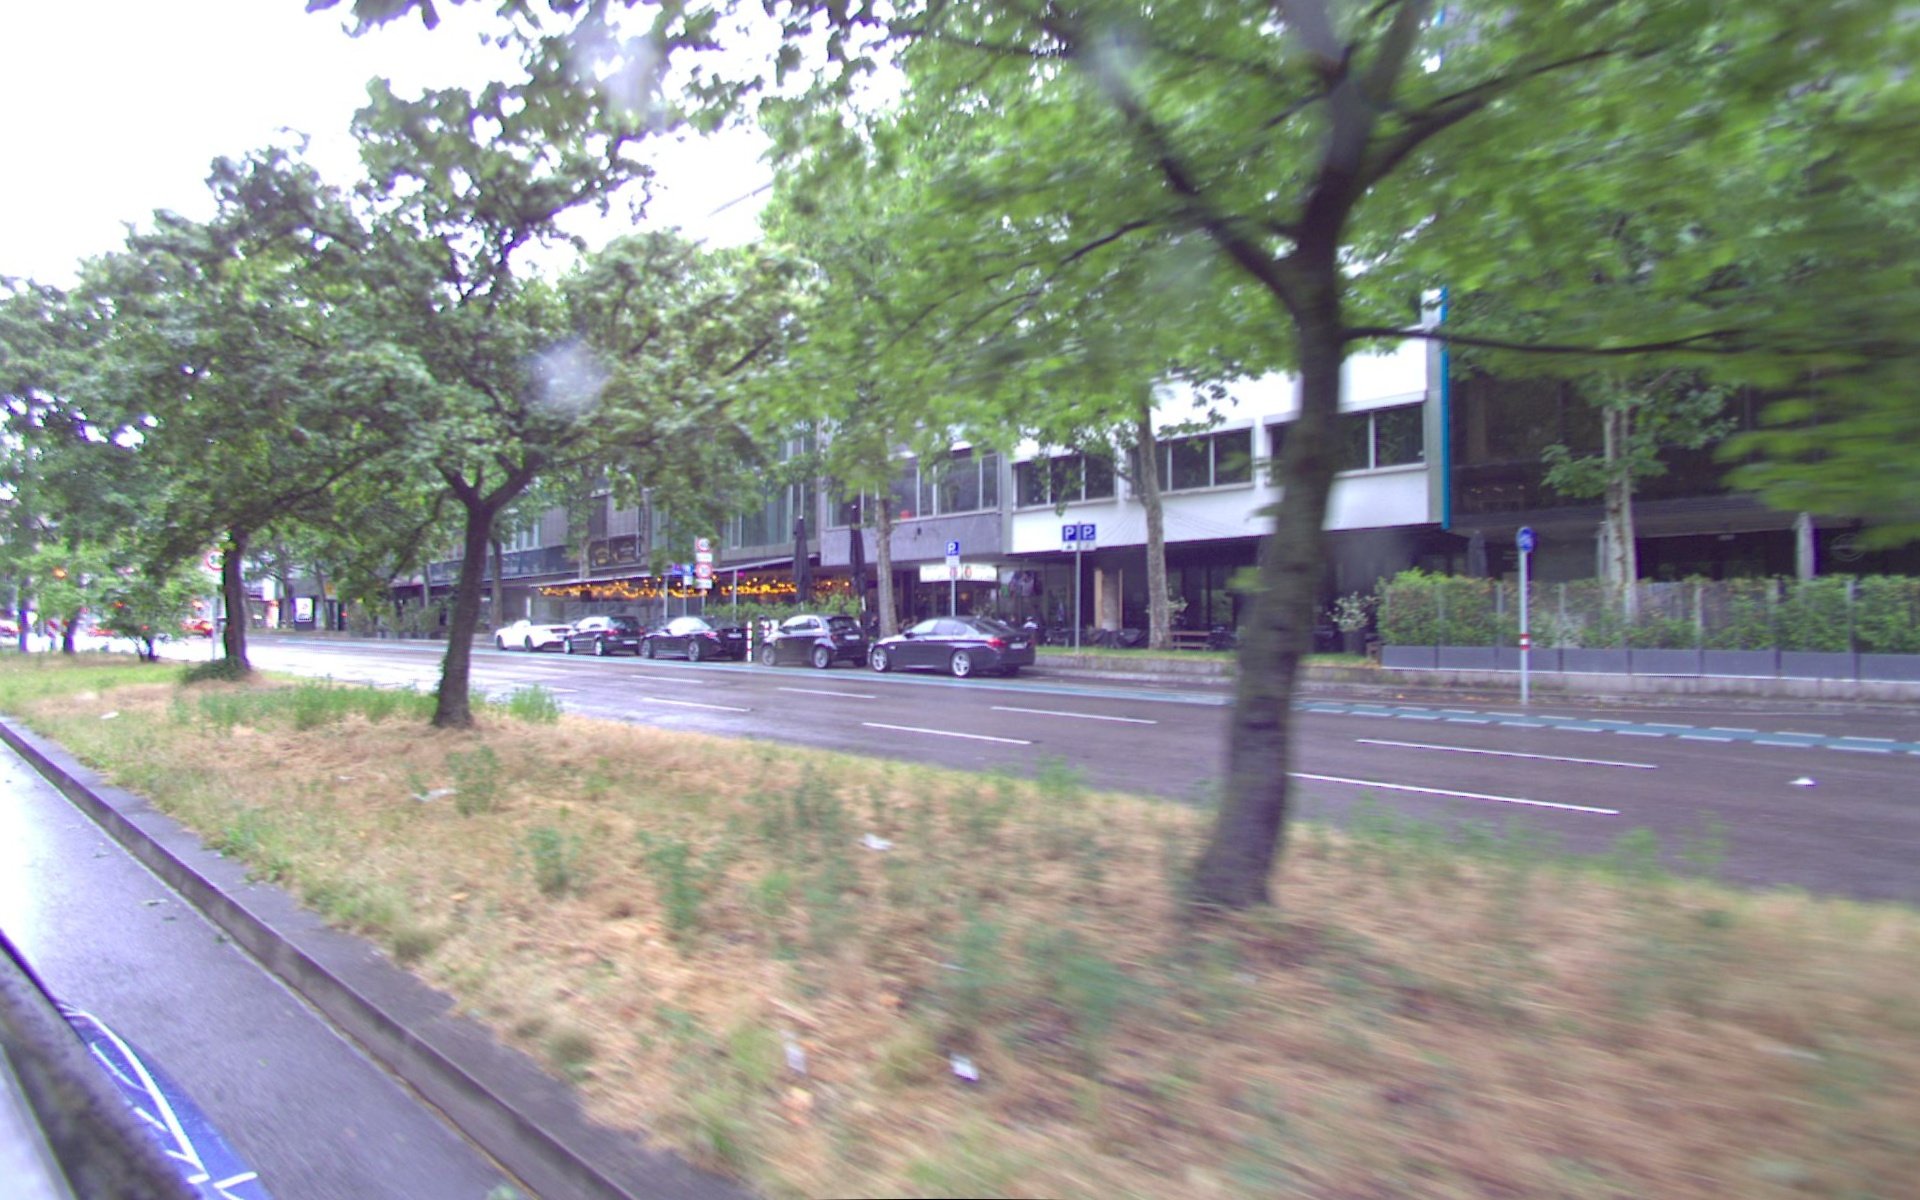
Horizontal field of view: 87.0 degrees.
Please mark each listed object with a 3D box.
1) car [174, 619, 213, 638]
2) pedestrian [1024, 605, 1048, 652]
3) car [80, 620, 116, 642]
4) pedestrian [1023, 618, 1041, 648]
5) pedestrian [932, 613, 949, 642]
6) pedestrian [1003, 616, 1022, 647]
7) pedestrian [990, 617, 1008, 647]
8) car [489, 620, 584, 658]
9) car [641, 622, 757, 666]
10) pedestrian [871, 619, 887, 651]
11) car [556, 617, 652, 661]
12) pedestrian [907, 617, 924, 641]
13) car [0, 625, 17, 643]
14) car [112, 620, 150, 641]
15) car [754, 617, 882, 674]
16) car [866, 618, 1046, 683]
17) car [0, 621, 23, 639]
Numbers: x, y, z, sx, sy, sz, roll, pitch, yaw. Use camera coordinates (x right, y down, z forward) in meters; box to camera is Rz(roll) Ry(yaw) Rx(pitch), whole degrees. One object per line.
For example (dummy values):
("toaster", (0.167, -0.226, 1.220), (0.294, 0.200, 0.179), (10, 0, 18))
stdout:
("car", (-60.422, 2.233, 79.758), (3.737, 1.335, 1.742), (0, 0, 42))
("pedestrian", (2.733, 1.011, 36.504), (0.623, 1.660, 0.599), (0, 0, 37))
("car", (-75.255, 2.684, 88.311), (3.954, 1.799, 1.913), (0, 0, 42))
("pedestrian", (2.375, 1.076, 33.447), (0.451, 0.970, 0.454), (0, 0, 26))
("pedestrian", (-0.697, 0.971, 35.953), (0.423, 1.024, 0.459), (0, 0, 39))
("pedestrian", (1.742, 1.059, 33.682), (0.488, 1.008, 0.481), (0, 0, 26))
("pedestrian", (1.327, 1.074, 34.023), (0.461, 1.000, 0.455), (0, 0, 26))
("car", (-17.148, 1.547, 40.907), (4.392, 1.336, 1.856), (0, 0, 42))
("car", (-8.520, 1.378, 32.834), (4.319, 1.249, 1.625), (0, 0, 43))
("pedestrian", (-3.027, 1.311, 37.923), (0.459, 1.195, 0.447), (0, 0, -30))
("car", (-13.064, 1.394, 37.031), (3.788, 1.464, 1.727), (0, 0, 42))
("pedestrian", (-1.615, 1.046, 36.981), (0.433, 0.856, 0.435), (0, 0, 39))
("car", (-79.376, 2.828, 83.653), (3.524, 1.400, 1.657), (0, 0, 39))
("car", (-67.792, 2.447, 82.718), (3.727, 1.586, 1.758), (0, 0, 41))
("car", (-4.068, 1.233, 28.768), (3.400, 1.433, 1.851), (0, 0, 42))
("car", (-0.178, 1.189, 25.267), (4.539, 1.396, 1.849), (0, 0, 45))
("car", (-106.258, 3.346, 112.982), (3.997, 1.829, 1.973), (0, 0, 41))
